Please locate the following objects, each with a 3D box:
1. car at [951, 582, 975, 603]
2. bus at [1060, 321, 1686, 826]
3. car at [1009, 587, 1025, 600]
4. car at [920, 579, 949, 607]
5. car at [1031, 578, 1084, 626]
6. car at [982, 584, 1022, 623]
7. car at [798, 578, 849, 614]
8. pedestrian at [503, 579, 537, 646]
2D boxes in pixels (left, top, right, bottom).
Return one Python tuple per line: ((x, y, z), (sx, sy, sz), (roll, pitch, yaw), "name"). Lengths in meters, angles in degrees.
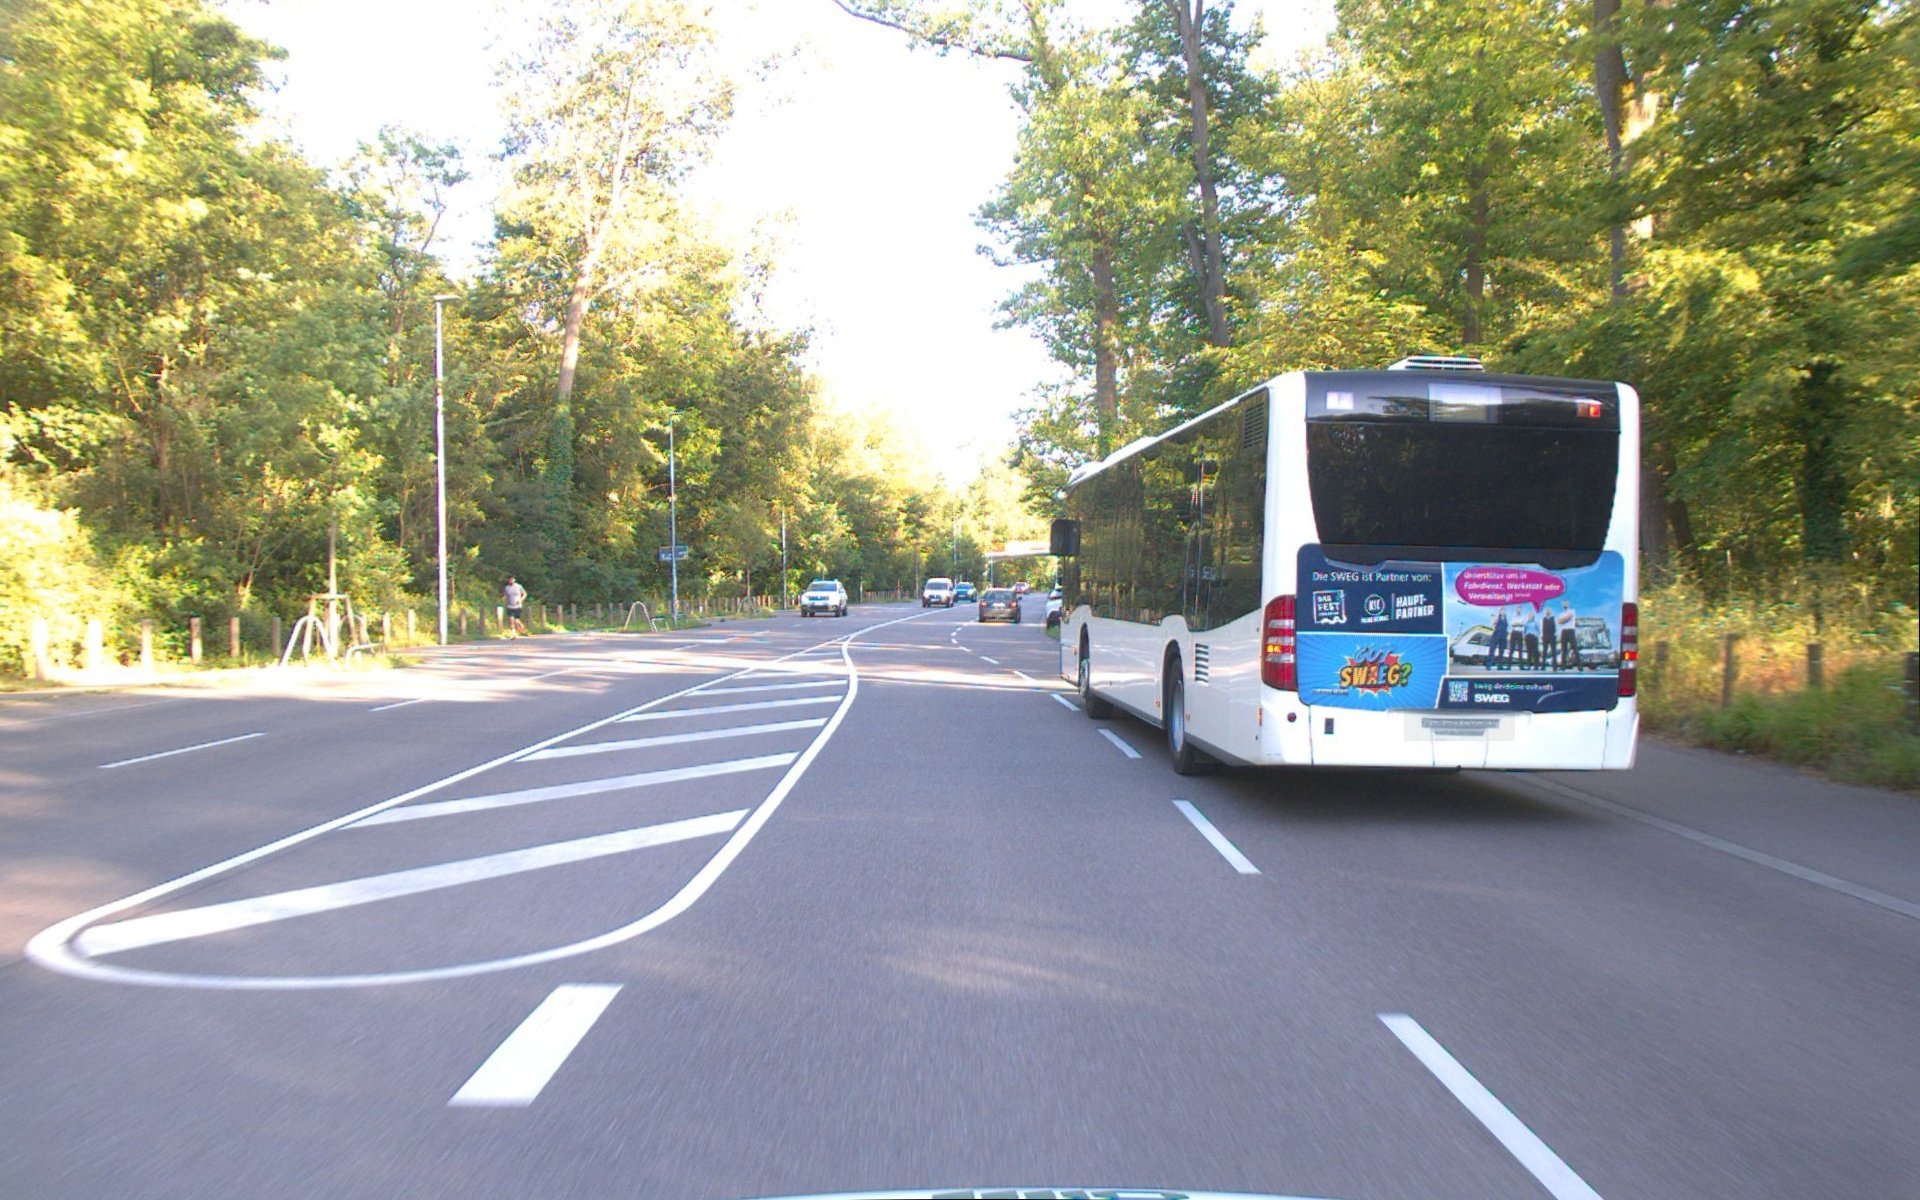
((0.275, -0.558, 129.818), (1.825, 1.592, 4.000), (1, 0, 0), "car")
((2.936, -0.136, 16.247), (2.636, 3.096, 12.034), (1, 0, -3), "bus")
((7.001, -0.795, 204.174), (1.825, 1.592, 4.000), (1, 0, 0), "car")
((-1.602, -0.444, 105.941), (1.825, 1.759, 3.999), (1, 0, -1), "car")
((3.571, 0.083, 59.960), (1.597, 1.688, 4.135), (1, 0, 8), "car")
((1.805, 0.151, 69.442), (1.598, 1.574, 4.133), (1, 0, 2), "car")
((-6.227, -0.165, 75.833), (1.824, 1.564, 4.133), (1, 0, 2), "car")
((-12.322, 0.340, 46.333), (0.763, 1.844, 0.770), (0, 0, -2), "pedestrian")
